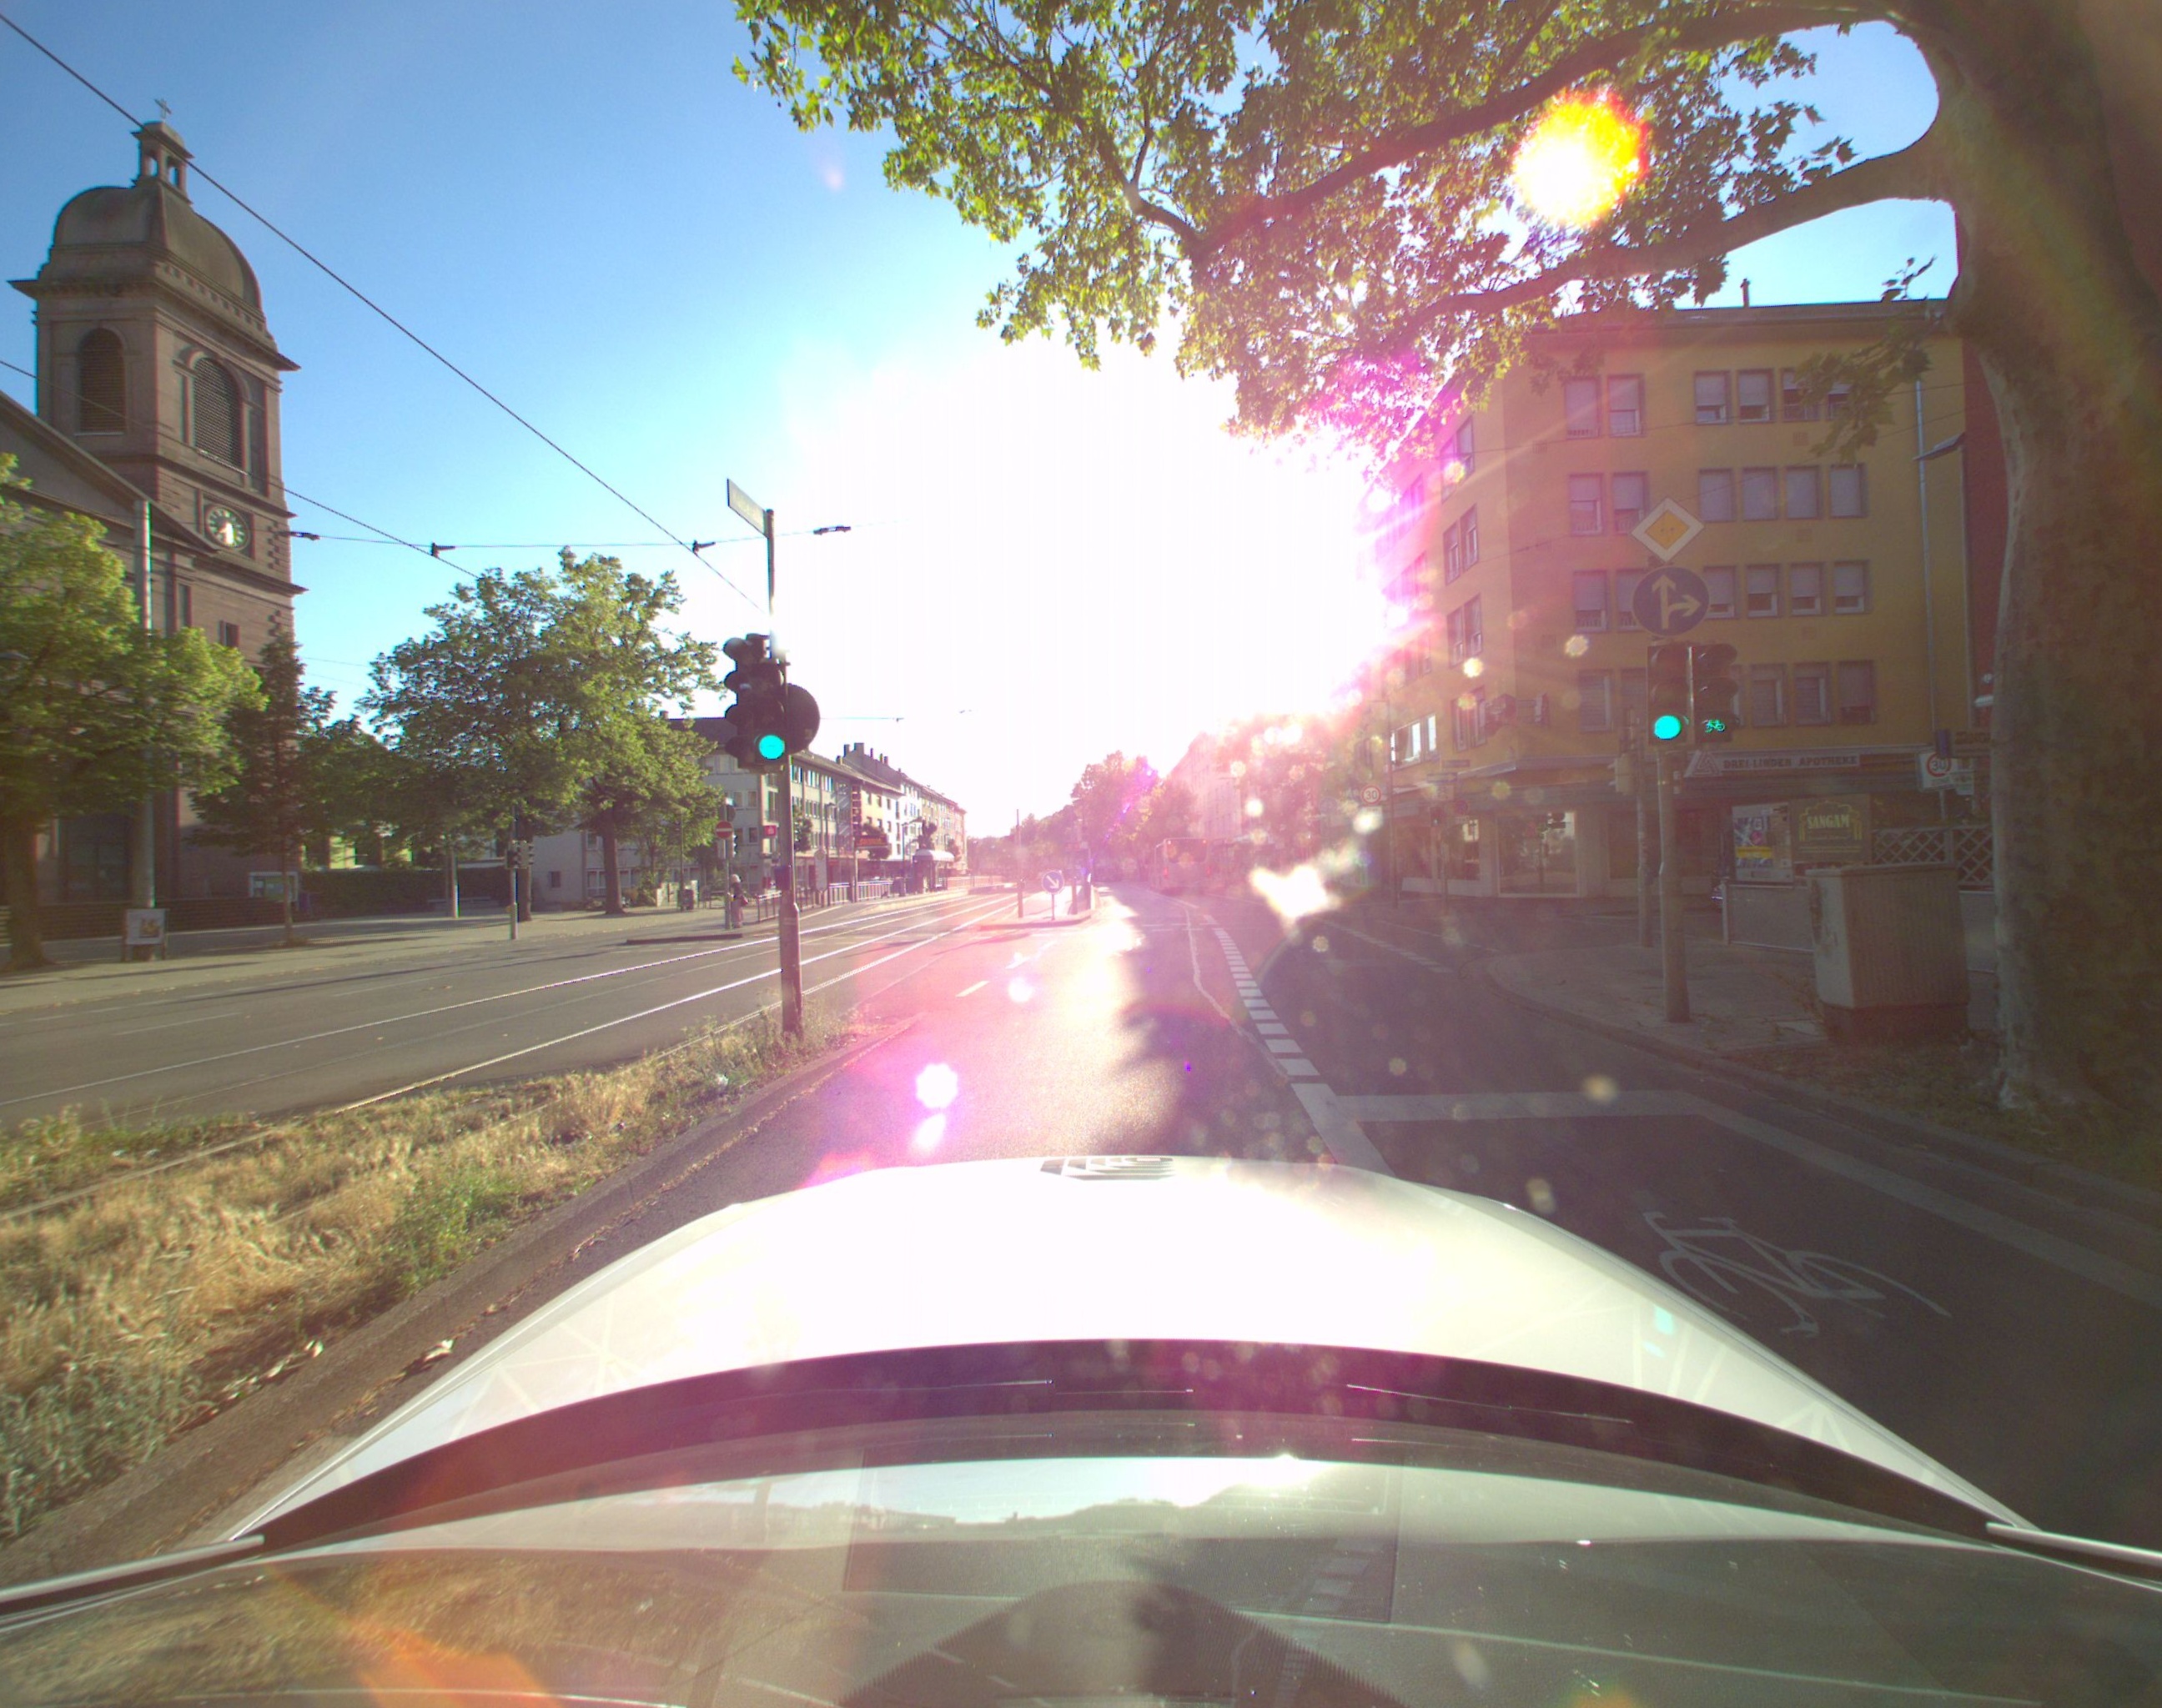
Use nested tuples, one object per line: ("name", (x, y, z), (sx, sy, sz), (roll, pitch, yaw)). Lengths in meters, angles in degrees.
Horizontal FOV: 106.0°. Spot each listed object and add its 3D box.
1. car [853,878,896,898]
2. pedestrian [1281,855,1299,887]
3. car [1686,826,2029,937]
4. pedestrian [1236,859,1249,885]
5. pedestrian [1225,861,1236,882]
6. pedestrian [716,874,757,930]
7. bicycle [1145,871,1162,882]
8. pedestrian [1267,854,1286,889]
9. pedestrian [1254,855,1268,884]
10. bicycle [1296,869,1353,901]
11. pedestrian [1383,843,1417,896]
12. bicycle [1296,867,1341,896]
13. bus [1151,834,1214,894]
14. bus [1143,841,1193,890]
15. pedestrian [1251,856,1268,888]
("car", (-19.146, 3.180, 75.681), (1.748, 1.679, 3.533), (-3, -1, 37))
("pedestrian", (11.445, 0.941, 44.635), (0.721, 1.723, 0.766), (-2, -2, 0))
("car", (13.545, 0.468, 14.408), (4.327, 1.686, 1.772), (-2, -1, 0))
("pedestrian", (9.980, 1.106, 50.422), (0.608, 1.578, 0.851), (-2, -1, 3))
("pedestrian", (11.879, 1.381, 64.792), (0.721, 1.632, 0.766), (-2, -1, 0))
("pedestrian", (-11.301, 1.561, 26.741), (0.915, 1.760, 0.832), (-2, -2, 2))
("bicycle", (8.797, 2.740, 98.986), (1.879, 1.077, 0.755), (-6, -1, 3))
("pedestrian", (10.197, 0.923, 42.495), (0.721, 1.807, 0.766), (-2, -2, 0))
("pedestrian", (11.941, 1.027, 54.066), (0.721, 1.840, 0.766), (-2, -2, 0))
("bicycle", (8.735, 1.104, 29.232), (1.794, 1.008, 0.540), (-4, -1, -3))
("pedestrian", (10.995, 0.539, 28.085), (0.741, 1.780, 0.894), (-3, -2, 0))
("bicycle", (8.688, 1.004, 29.800), (1.479, 1.008, 0.454), (-2, -1, -3))
("bus", (5.802, 0.623, 48.130), (2.687, 3.118, 9.382), (-1, -1, 1))
("bus", (5.997, 0.806, 57.323), (2.687, 3.118, 9.070), (-1, -1, 1))
("pedestrian", (10.110, 1.038, 46.246), (0.721, 1.779, 0.766), (-2, -2, 0))
